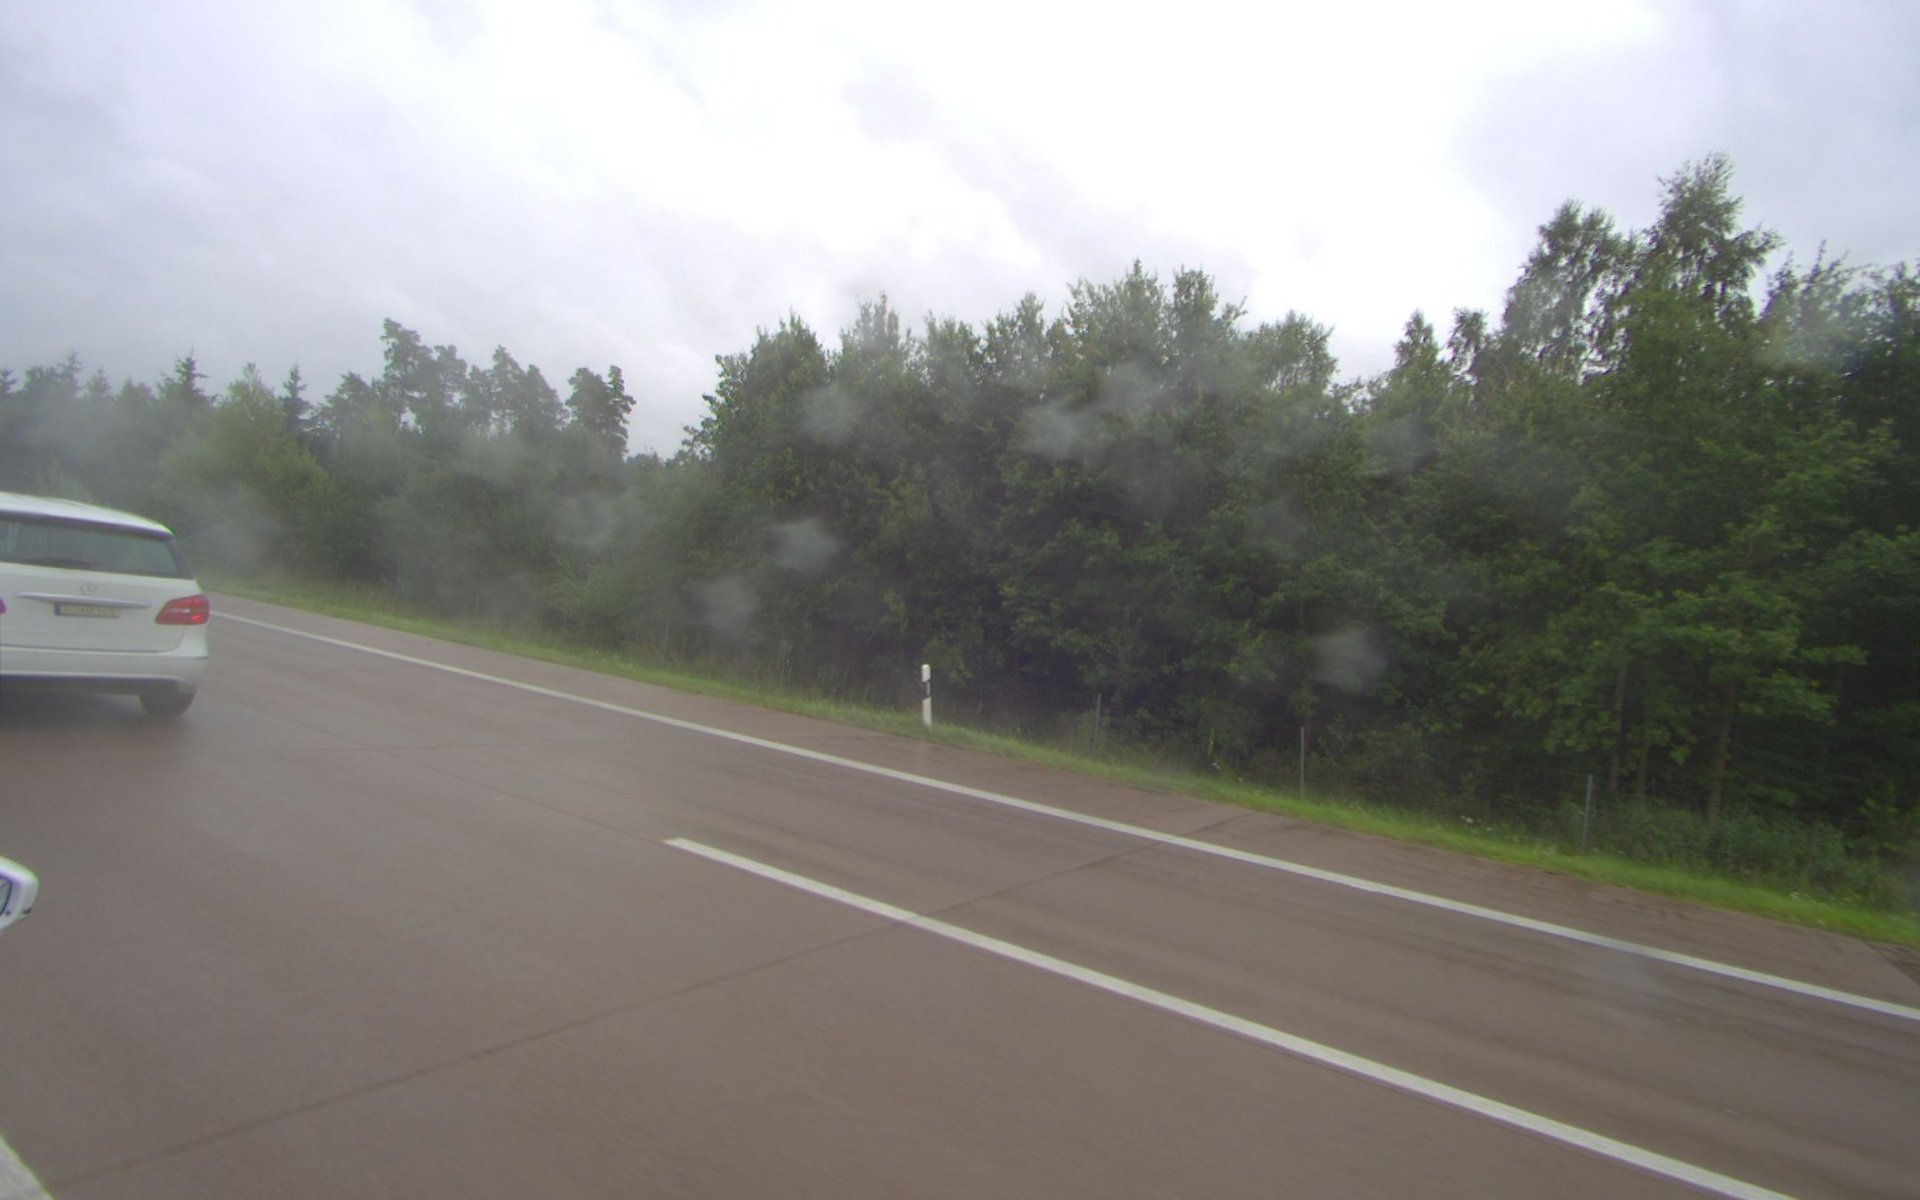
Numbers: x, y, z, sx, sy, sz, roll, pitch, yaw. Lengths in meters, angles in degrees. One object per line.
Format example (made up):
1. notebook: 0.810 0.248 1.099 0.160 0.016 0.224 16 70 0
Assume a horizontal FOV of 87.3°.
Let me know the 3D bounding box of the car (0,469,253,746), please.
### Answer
1. car: -7.801 -0.120 7.958 4.665 1.748 1.812 6 -2 32
